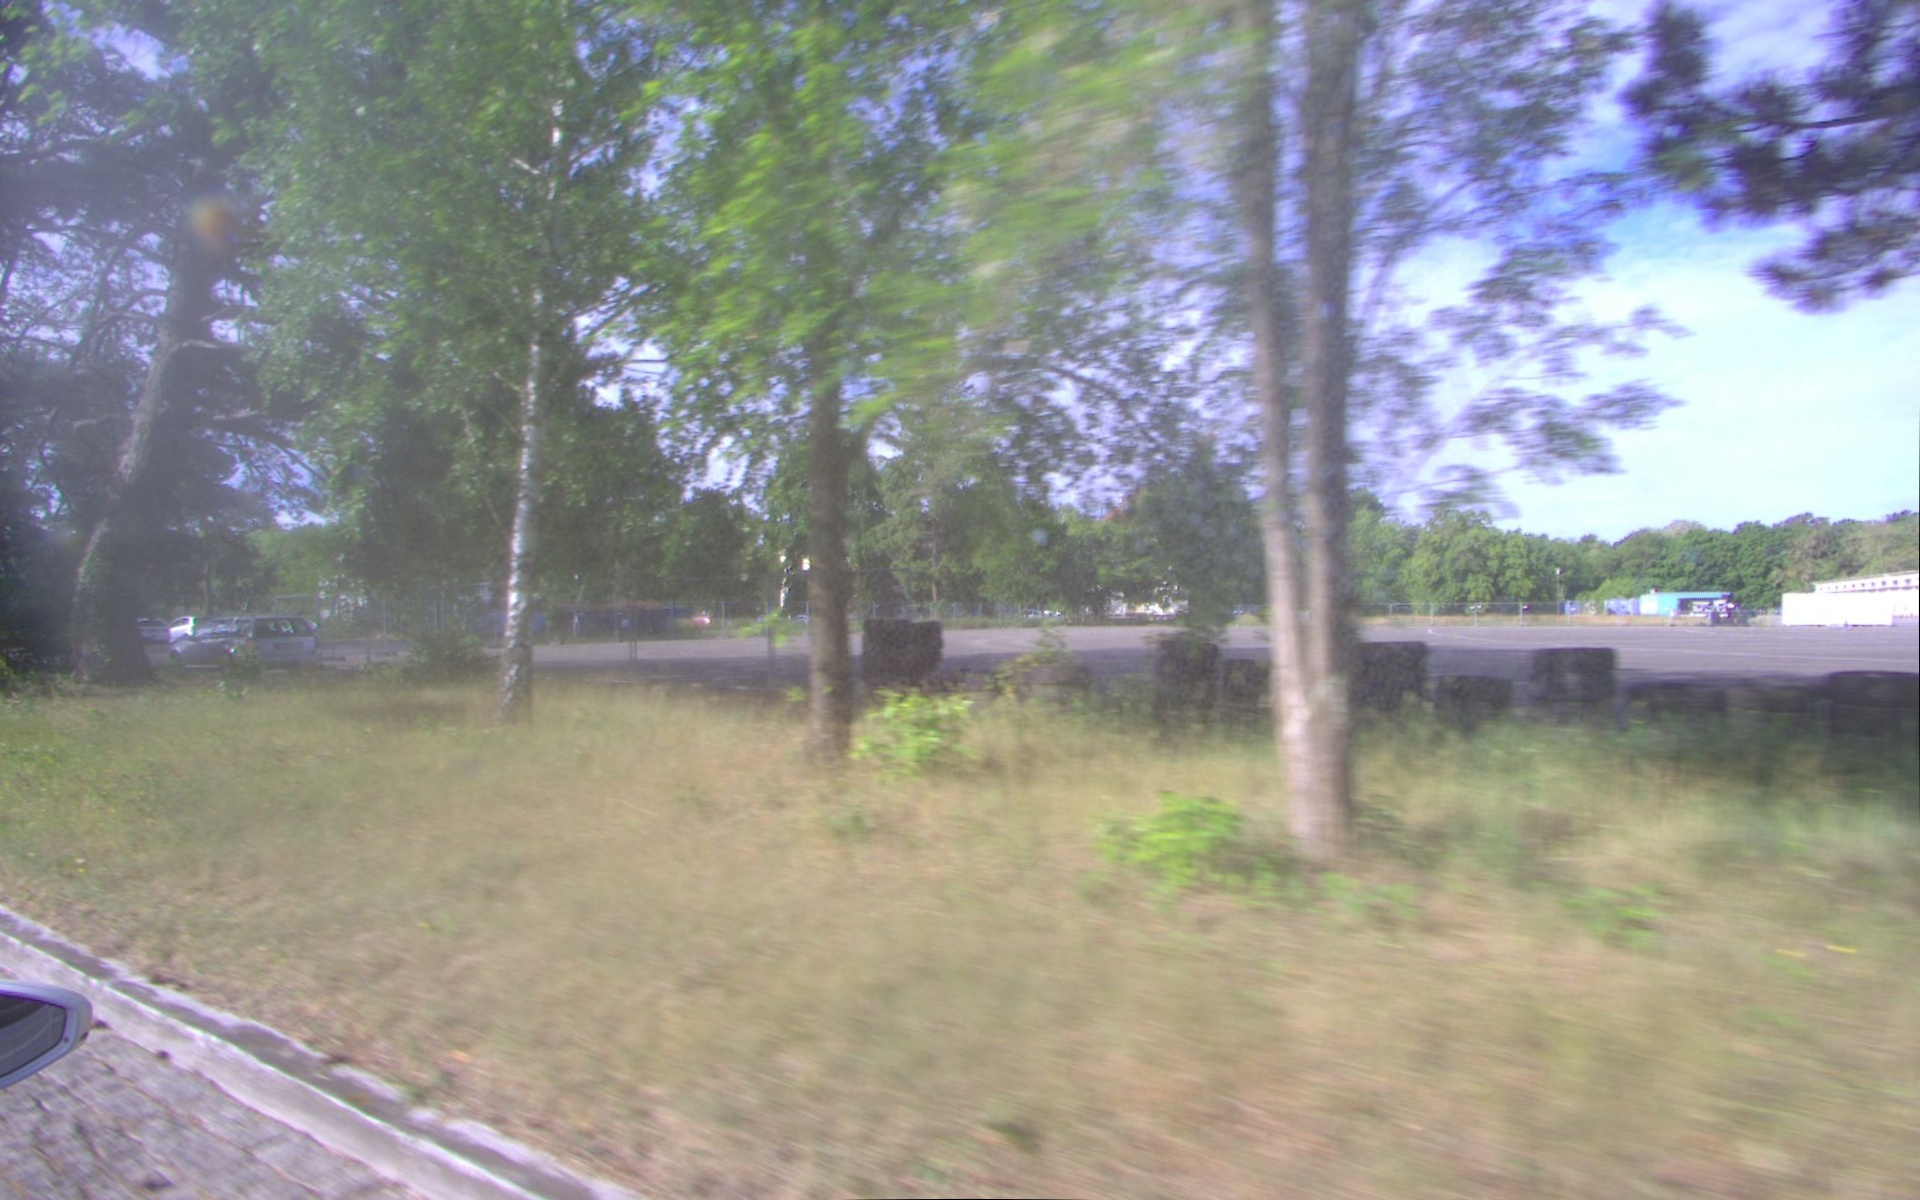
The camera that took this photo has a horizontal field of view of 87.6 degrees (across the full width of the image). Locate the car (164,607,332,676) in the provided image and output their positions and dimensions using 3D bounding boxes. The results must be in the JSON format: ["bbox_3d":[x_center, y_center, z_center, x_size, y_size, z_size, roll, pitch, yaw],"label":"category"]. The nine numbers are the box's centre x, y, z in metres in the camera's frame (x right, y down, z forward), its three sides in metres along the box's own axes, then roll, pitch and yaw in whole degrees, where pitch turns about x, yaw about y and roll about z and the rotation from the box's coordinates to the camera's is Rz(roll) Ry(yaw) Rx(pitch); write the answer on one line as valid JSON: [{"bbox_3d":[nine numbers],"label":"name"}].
[{"bbox_3d":[-16.653,0.923,23.389,3.939,1.487,1.665,-1,0,29],"label":"car"}]

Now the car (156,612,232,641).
[{"bbox_3d":[-41.479,1.412,54.210,4.266,1.496,1.729,-1,0,29],"label":"car"}]

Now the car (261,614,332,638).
[{"bbox_3d":[-39.127,1.540,59.059,4.266,1.329,1.729,-1,0,29],"label":"car"}]

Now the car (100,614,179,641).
[{"bbox_3d":[-42.559,1.402,51.911,4.266,1.329,1.729,0,0,29],"label":"car"}]
